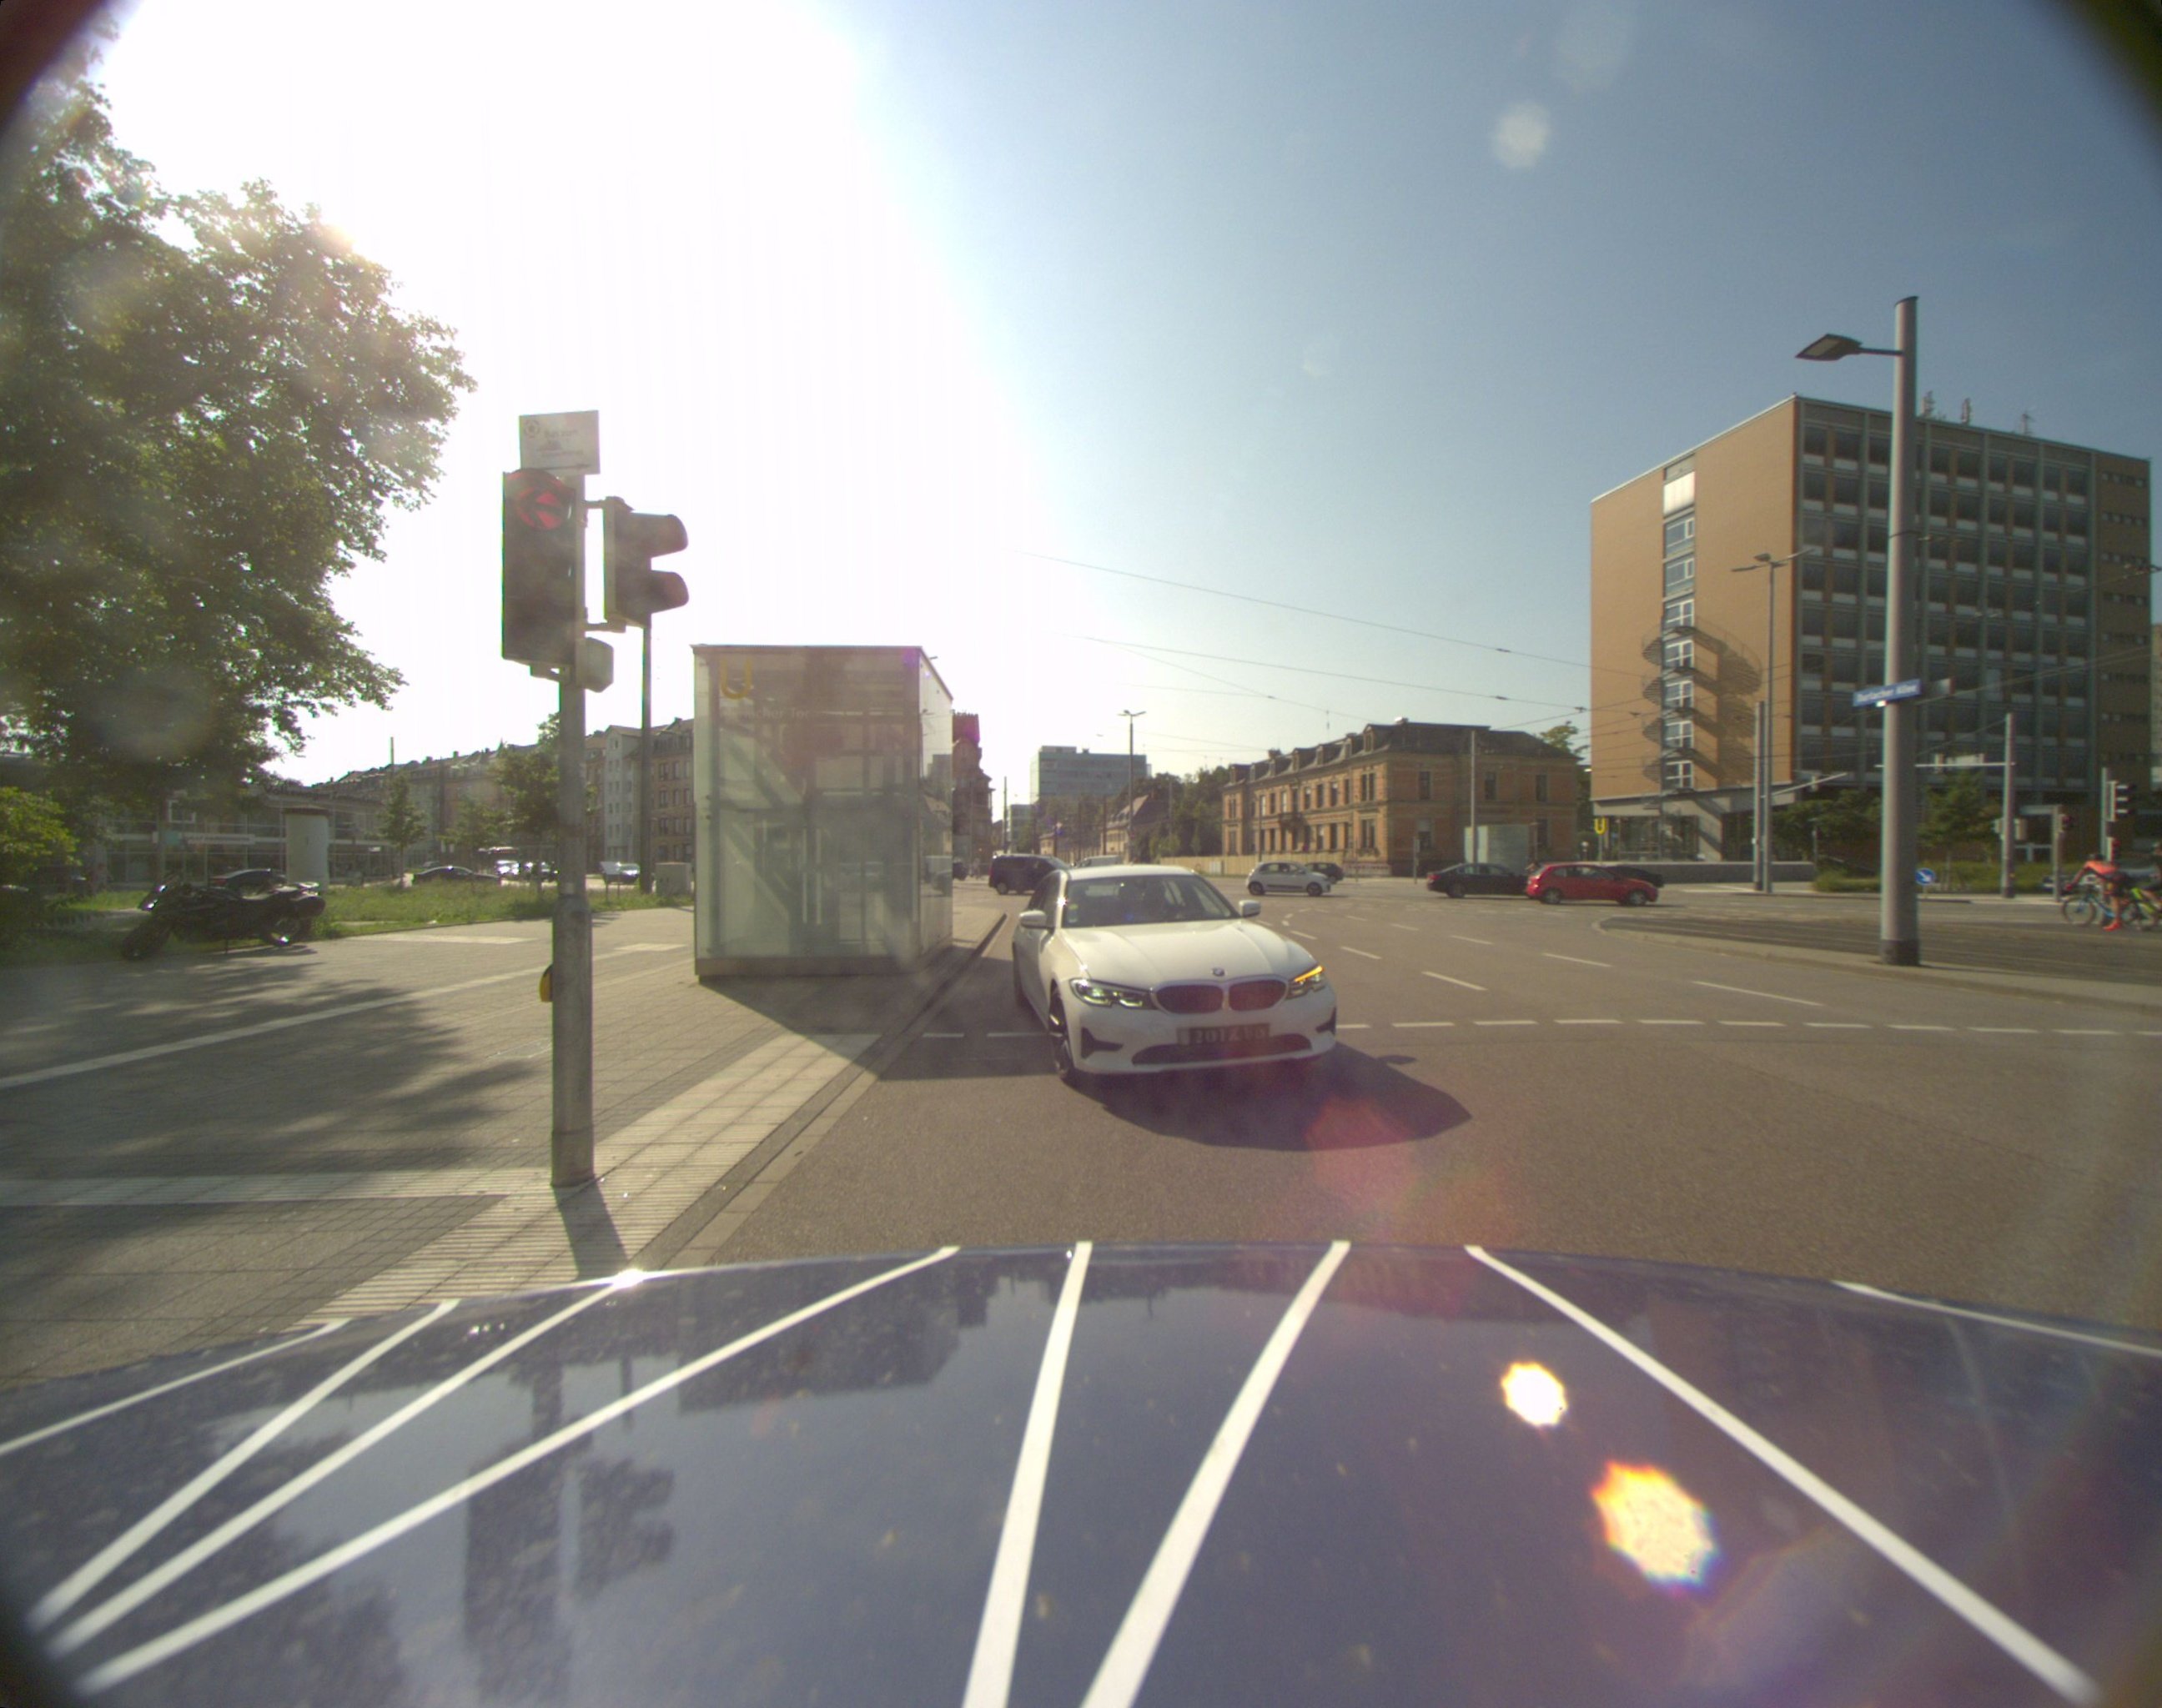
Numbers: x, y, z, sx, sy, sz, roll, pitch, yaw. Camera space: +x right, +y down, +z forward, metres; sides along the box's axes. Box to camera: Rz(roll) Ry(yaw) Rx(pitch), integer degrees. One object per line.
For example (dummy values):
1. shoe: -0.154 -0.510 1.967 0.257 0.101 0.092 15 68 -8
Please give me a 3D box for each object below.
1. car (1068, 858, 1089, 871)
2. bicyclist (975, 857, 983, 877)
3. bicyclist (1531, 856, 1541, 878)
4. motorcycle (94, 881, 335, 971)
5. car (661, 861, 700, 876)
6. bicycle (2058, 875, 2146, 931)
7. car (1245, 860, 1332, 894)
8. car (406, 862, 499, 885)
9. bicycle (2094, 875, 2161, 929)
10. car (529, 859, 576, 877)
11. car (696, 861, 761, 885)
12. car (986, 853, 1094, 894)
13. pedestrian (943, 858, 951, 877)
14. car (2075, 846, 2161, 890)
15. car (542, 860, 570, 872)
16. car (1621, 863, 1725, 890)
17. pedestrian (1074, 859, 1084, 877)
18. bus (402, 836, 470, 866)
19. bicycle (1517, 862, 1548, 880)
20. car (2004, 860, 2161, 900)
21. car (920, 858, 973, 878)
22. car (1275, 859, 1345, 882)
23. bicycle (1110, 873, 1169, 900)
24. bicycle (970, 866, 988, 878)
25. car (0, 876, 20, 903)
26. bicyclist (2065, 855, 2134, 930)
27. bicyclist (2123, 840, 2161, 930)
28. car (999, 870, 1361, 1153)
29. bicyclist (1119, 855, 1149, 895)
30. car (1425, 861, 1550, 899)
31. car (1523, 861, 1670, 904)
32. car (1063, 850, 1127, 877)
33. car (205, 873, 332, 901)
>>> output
1. car: -0.269 1.140 80.487 1.693 1.319 3.997 0 0 -8
2. bicyclist: -8.854 1.123 66.003 0.587 1.720 0.594 0 0 -14
3. bicyclist: 30.337 0.858 50.655 0.547 1.471 0.398 0 1 39
4. motorcycle: -12.894 1.019 11.452 0.704 1.140 2.304 0 0 16
5. car: -39.906 1.442 75.651 3.770 1.439 1.680 0 -1 30
6. bicycle: 22.704 1.071 16.927 0.311 1.158 1.501 0 0 16
7. car: 9.212 0.987 33.735 3.548 1.427 1.806 0 0 22
8. car: -40.752 1.219 49.308 1.994 1.362 4.408 0 0 43
9. bicycle: 24.012 1.075 17.105 0.376 1.158 1.861 0 -1 16
10. car: -43.284 1.143 62.212 3.621 1.433 1.807 0 0 31
11. car: -21.964 1.158 47.303 3.893 1.433 1.807 0 0 31
12. car: -1.946 0.882 35.574 4.760 1.817 1.807 0 0 27
13. pedestrian: -11.688 1.178 66.314 0.522 1.631 0.506 0 0 28
14. car: 43.244 0.584 30.148 4.281 1.696 1.955 0 -2 16
15. car: -65.400 1.438 94.562 3.829 1.452 1.745 0 0 37
16. car: 33.199 1.277 42.761 4.315 1.456 1.677 0 -2 20
17. pedestrian: -0.148 1.266 68.700 0.792 1.677 0.661 0 0 9
18. bus: -66.990 -0.263 78.830 11.463 2.966 2.904 0 0 37
19. bicycle: 30.185 1.125 50.794 1.767 1.187 0.402 0 0 40
20. car: 44.288 1.123 33.432 4.280 1.696 1.929 0 -2 18
21. car: -10.729 1.128 60.596 3.965 1.572 1.748 0 -1 30
22. car: 15.002 1.093 49.727 4.280 1.456 1.677 0 -2 20
23. bicycle: 2.252 1.271 29.411 2.193 0.983 0.530 -2 1 16
24. bicycle: -8.847 1.525 65.993 1.527 1.019 0.433 0 0 -13
25. car: -49.797 1.590 32.764 1.995 1.159 4.406 0 0 26
26. bicyclist: 22.650 0.839 16.911 0.511 1.620 0.808 0 0 15
27. bicyclist: 23.887 0.669 16.826 0.580 1.963 0.808 0 0 15
28. car: 0.356 0.927 6.714 1.815 1.419 4.770 -2 0 -10
29. bicyclist: 2.061 0.796 29.404 0.970 1.467 1.088 0 2 15
30. car: 16.413 1.007 30.927 4.339 1.443 1.806 0 0 24
31. car: 18.032 0.974 26.807 3.990 1.407 1.806 0 0 23
32. car: 1.018 0.726 54.815 4.280 1.875 1.798 0 -2 20
33. car: -45.152 1.790 42.350 1.995 1.362 4.406 0 0 25
